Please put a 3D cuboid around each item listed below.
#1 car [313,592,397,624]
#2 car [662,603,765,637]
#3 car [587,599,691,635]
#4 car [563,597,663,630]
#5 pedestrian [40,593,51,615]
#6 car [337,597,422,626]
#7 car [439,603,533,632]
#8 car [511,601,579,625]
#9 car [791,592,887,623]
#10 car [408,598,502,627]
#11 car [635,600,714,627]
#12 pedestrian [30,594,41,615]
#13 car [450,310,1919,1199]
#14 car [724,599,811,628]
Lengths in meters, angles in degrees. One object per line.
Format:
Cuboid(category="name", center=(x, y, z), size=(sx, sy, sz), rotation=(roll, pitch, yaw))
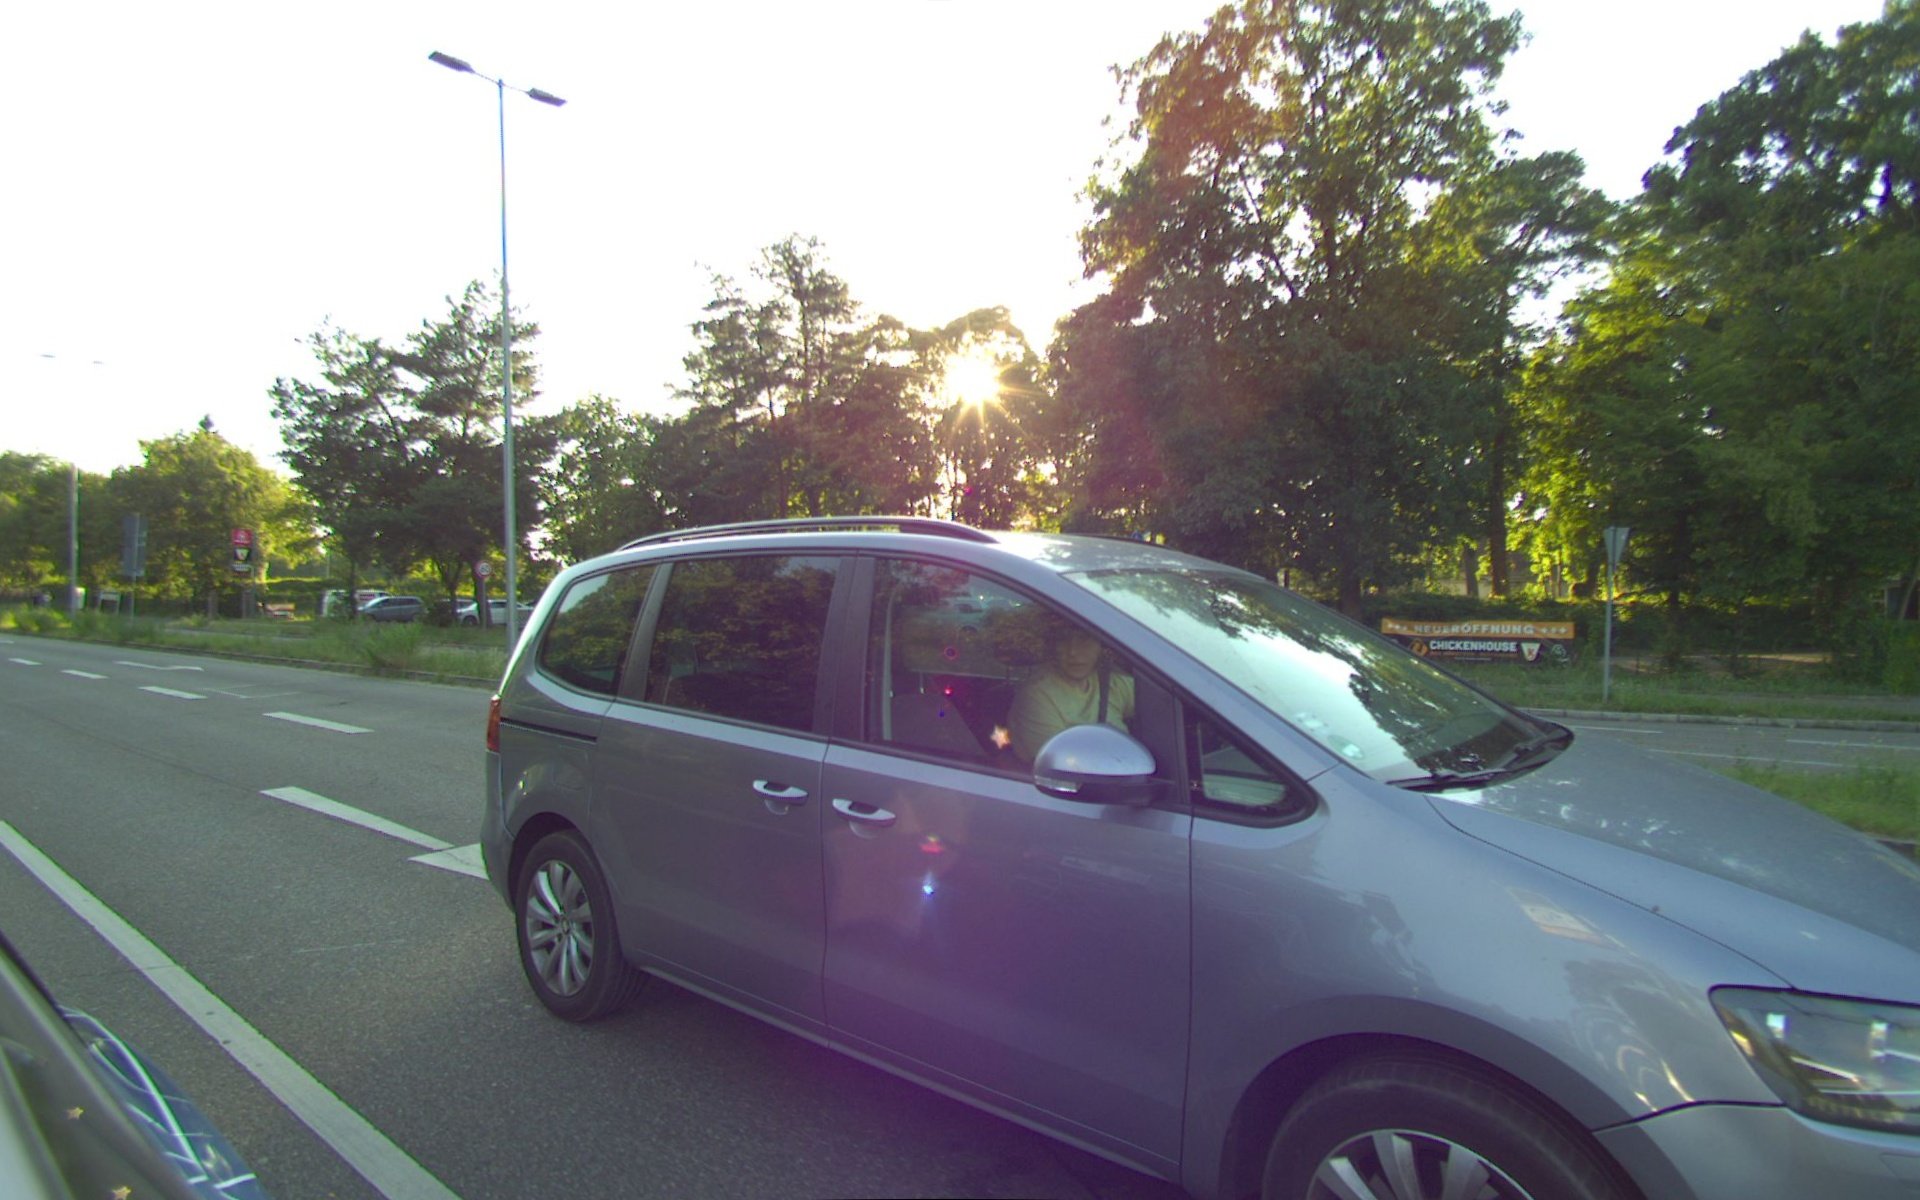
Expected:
Cuboid(category="car", center=(-36.605, 0.498, 61.304), size=(1.824, 1.879, 3.947), rotation=(0, -1, 40))
Cuboid(category="car", center=(-10.266, 0.805, 42.024), size=(4.490, 1.334, 1.659), rotation=(0, -1, 36))
Cuboid(category="car", center=(-13.828, 0.726, 43.735), size=(1.761, 1.490, 3.995), rotation=(0, -1, 41))
Cuboid(category="car", center=(-15.949, 0.602, 46.666), size=(1.997, 1.464, 3.950), rotation=(0, -1, 37))
Cuboid(category="pedestrian", center=(-76.798, 0.346, 84.981), size=(0.676, 1.788, 0.560), rotation=(-1, 0, 41))
Cuboid(category="car", center=(-34.076, 0.695, 59.515), size=(1.824, 1.649, 3.947), rotation=(0, -1, 40))
Cuboid(category="car", center=(-24.601, 0.899, 52.640), size=(1.780, 1.490, 4.119), rotation=(0, -1, 37))
Cuboid(category="car", center=(-26.236, 0.807, 63.963), size=(4.538, 1.417, 1.843), rotation=(0, -1, 36))
Cuboid(category="car", center=(-5.833, 0.351, 48.524), size=(4.538, 1.417, 1.843), rotation=(0, -1, 36))
Cuboid(category="car", center=(-27.025, 0.681, 54.262), size=(1.780, 1.490, 4.119), rotation=(0, -1, 37))
Cuboid(category="car", center=(-15.875, 0.731, 56.169), size=(4.538, 1.417, 1.843), rotation=(0, -1, 36))
Cuboid(category="pedestrian", center=(-77.186, 0.370, 84.491), size=(0.676, 1.759, 0.560), rotation=(-1, 0, 41))
Cuboid(category="car", center=(0.391, 0.525, 3.148), size=(4.656, 1.737, 1.847), rotation=(0, -1, 40))
Cuboid(category="car", center=(-9.975, 0.688, 52.339), size=(4.538, 1.417, 1.843), rotation=(0, -1, 36))
